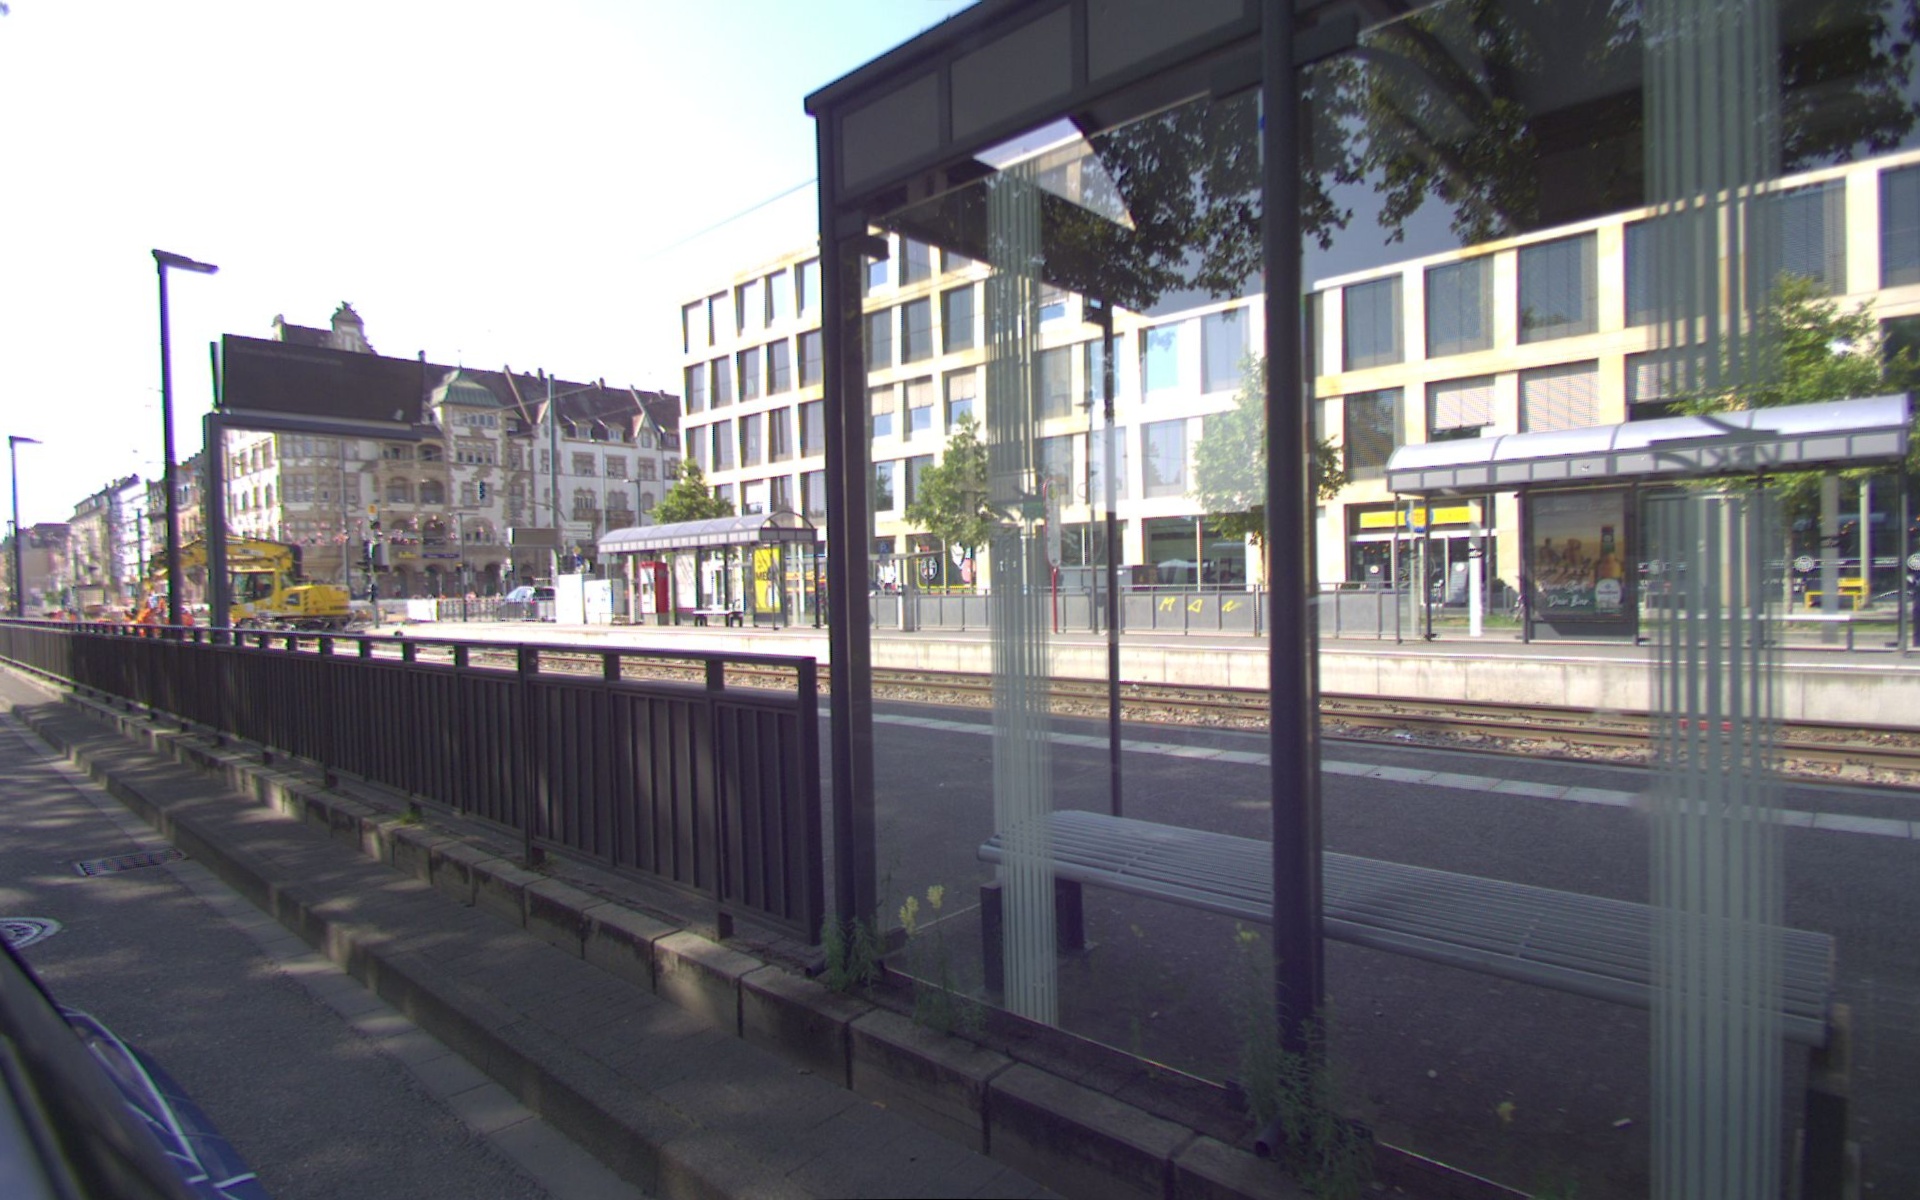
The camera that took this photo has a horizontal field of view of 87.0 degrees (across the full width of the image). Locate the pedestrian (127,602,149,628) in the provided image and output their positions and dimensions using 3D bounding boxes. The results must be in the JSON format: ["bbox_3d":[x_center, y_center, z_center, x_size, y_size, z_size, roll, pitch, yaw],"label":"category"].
[{"bbox_3d":[-50.839,0.949,62.604,0.727,1.568,0.753,-2,0,0],"label":"pedestrian"}]

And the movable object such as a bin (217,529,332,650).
[{"bbox_3d":[-27.650,-0.404,40.801,4.213,4.588,2.953,-2,0,44],"label":"movable object such as a bin"}]

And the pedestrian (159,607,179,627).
[{"bbox_3d":[-49.971,1.076,63.939,0.865,1.192,0.723,1,-1,35],"label":"pedestrian"}]

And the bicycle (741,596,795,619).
[{"bbox_3d":[-8.986,0.340,47.481,1.020,0.975,2.406,-1,1,40],"label":"bicycle"}]

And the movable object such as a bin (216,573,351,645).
[{"bbox_3d":[-32.194,0.406,48.242,3.550,3.247,4.088,-2,0,27],"label":"movable object such as a bin"}]

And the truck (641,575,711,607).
[{"bbox_3d":[-27.143,-0.877,97.046,2.689,2.836,5.961,-1,1,40],"label":"truck"}]

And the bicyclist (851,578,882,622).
[{"bbox_3d":[-3.031,0.000,32.821,0.784,1.413,0.622,1,-1,42],"label":"bicyclist"}]

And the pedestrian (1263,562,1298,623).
[{"bbox_3d":[10.795,-0.260,34.106,0.758,2.029,0.822,-1,0,-44],"label":"pedestrian"}]

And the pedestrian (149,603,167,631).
[{"bbox_3d":[-49.816,1.073,62.849,0.678,1.715,0.743,-1,0,42],"label":"pedestrian"}]

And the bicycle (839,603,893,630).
[{"bbox_3d":[-3.068,0.535,32.836,1.897,0.828,0.622,1,-1,42],"label":"bicycle"}]

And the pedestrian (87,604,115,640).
[{"bbox_3d":[-36.041,0.913,42.471,0.730,1.490,0.705,-2,0,-26],"label":"pedestrian"}]

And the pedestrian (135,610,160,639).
[{"bbox_3d":[-34.537,1.029,43.021,0.691,1.186,0.704,-2,0,-27],"label":"pedestrian"}]

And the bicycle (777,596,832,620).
[{"bbox_3d":[-7.014,0.366,45.674,0.944,0.975,2.406,-1,1,40],"label":"bicycle"}]

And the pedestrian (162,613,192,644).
[{"bbox_3d":[-30.164,1.099,38.977,0.692,1.163,0.589,-2,0,-8],"label":"pedestrian"}]

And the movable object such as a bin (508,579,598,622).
[{"bbox_3d":[-29.337,-0.019,73.151,2.491,2.810,5.443,1,3,43],"label":"movable object such as a bin"}]

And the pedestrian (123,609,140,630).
[{"bbox_3d":[-49.459,1.158,60.404,0.547,1.256,0.669,-1,0,41],"label":"pedestrian"}]

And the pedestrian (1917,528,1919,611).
[{"bbox_3d":[22.445,-0.708,23.045,0.837,1.931,0.786,1,-1,36],"label":"pedestrian"}]

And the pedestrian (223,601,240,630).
[{"bbox_3d":[-43.936,0.928,61.052,0.728,1.715,0.761,-2,0,-29],"label":"pedestrian"}]

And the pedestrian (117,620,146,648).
[{"bbox_3d":[-30.514,1.247,37.277,0.882,0.962,0.693,-1,0,43],"label":"pedestrian"}]

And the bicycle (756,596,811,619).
[{"bbox_3d":[-8.111,0.351,46.604,1.020,0.975,2.406,-1,1,40],"label":"bicycle"}]

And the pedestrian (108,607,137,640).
[{"bbox_3d":[-34.488,0.957,41.685,0.691,1.345,0.839,-2,0,-27],"label":"pedestrian"}]
